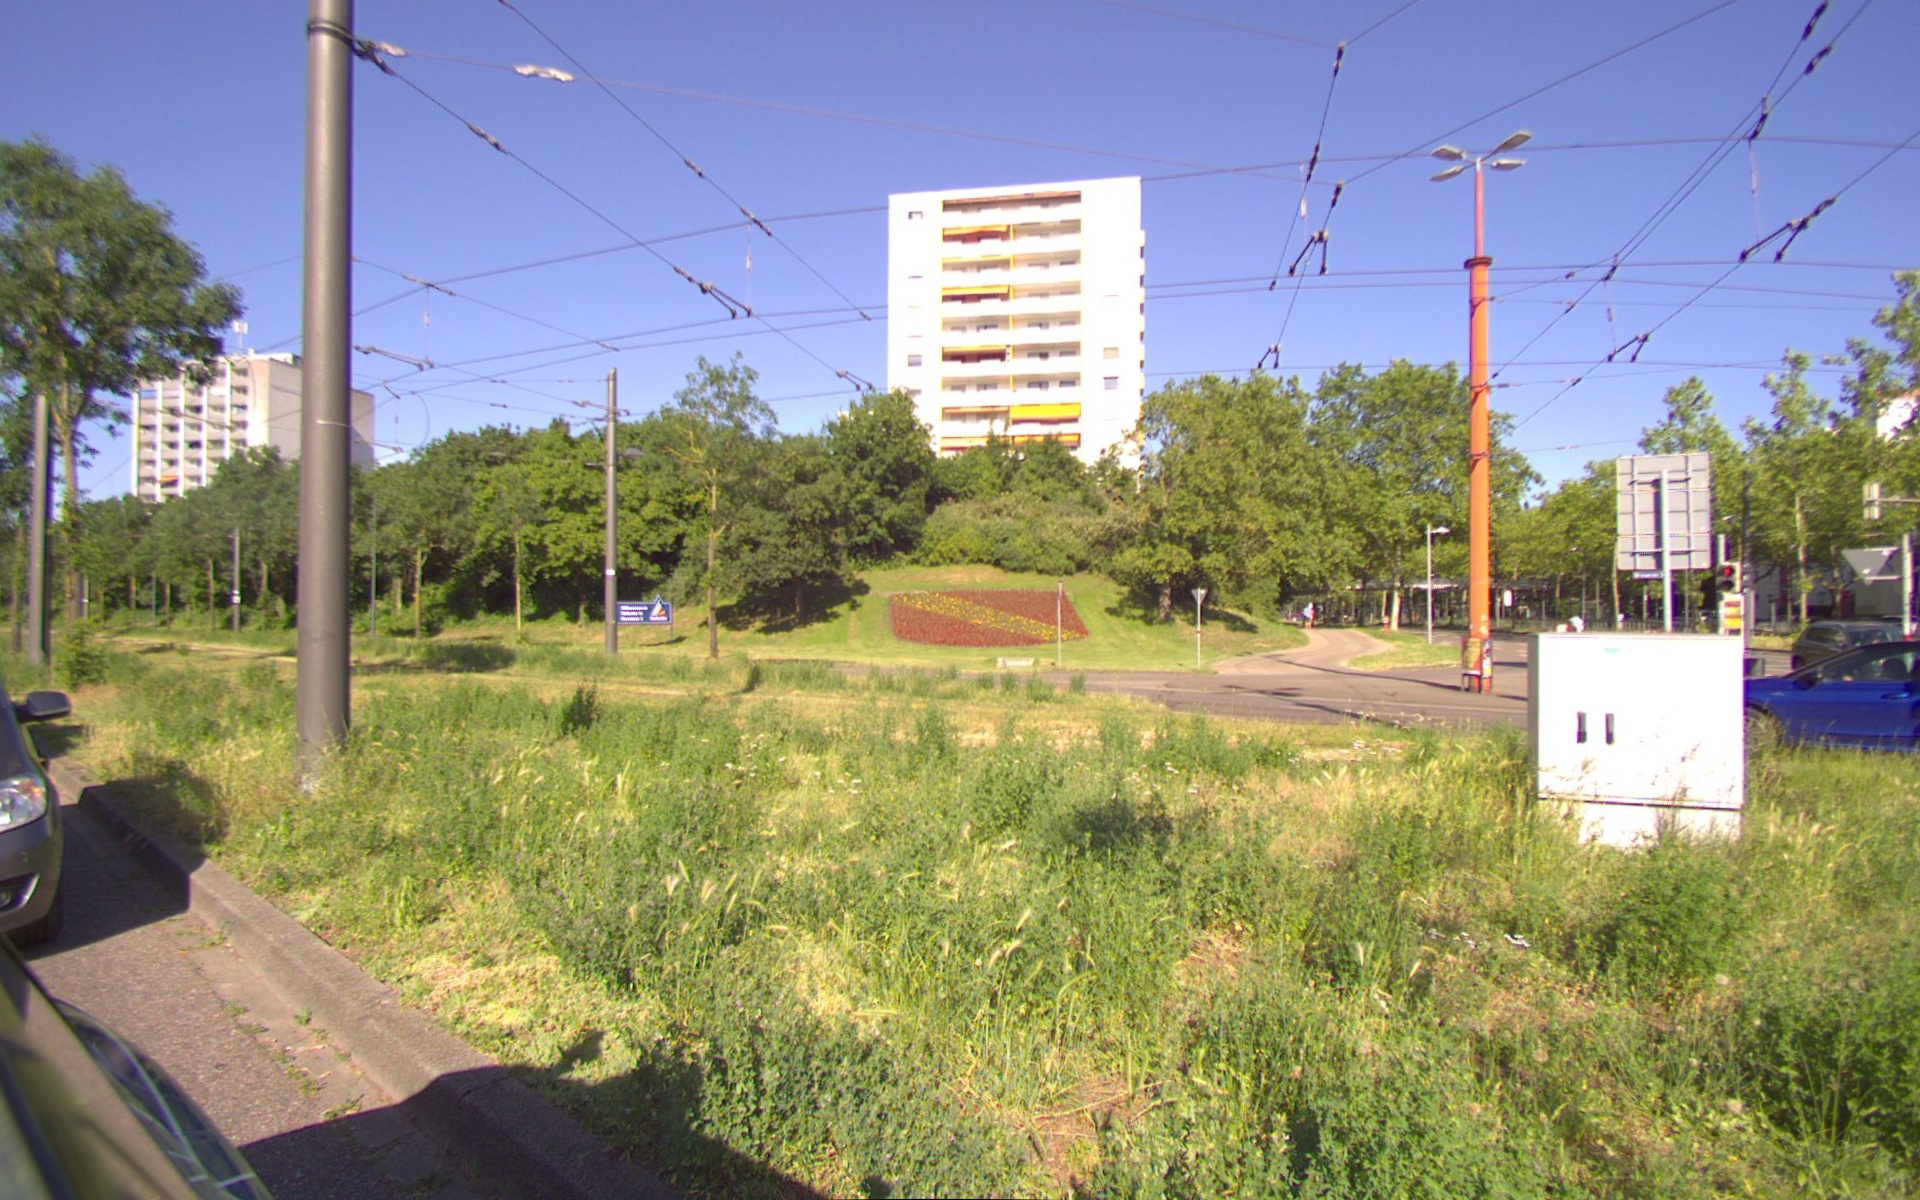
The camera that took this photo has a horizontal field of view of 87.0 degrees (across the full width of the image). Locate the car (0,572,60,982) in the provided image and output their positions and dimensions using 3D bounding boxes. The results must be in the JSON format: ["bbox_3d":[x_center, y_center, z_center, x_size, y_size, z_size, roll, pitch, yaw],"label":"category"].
[{"bbox_3d":[-5.820,0.754,4.881,3.998,1.652,1.726,-1,0,41],"label":"car"}]

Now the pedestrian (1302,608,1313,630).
[{"bbox_3d":[24.674,1.359,71.851,0.681,1.568,0.985,-1,0,20],"label":"pedestrian"}]

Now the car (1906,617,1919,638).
[{"bbox_3d":[63.693,1.782,65.151,1.472,1.341,3.746,-1,0,-27],"label":"car"}]

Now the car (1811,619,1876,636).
[{"bbox_3d":[64.413,1.994,73.834,1.425,1.197,3.423,-1,0,-41],"label":"car"}]

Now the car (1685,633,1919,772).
[{"bbox_3d":[10.616,1.101,11.191,1.553,1.431,3.918,1,-2,-36],"label":"car"}]

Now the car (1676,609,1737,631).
[{"bbox_3d":[72.151,1.946,97.860,1.909,1.999,4.350,1,-2,-38],"label":"car"}]

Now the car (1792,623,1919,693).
[{"bbox_3d":[23.013,1.378,25.270,1.900,1.507,4.026,-1,0,15],"label":"car"}]

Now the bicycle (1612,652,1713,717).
[{"bbox_3d":[13.509,1.598,19.527,0.571,1.079,1.916,-1,0,0],"label":"bicycle"}]

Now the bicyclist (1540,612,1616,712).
[{"bbox_3d":[12.120,1.195,19.863,0.880,1.881,0.924,-1,0,-2],"label":"bicyclist"}]

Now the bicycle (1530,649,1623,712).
[{"bbox_3d":[12.074,1.551,19.880,0.571,1.079,1.917,-1,0,-2],"label":"bicycle"}]

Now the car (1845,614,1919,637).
[{"bbox_3d":[63.809,1.749,69.983,1.589,1.471,3.656,-1,0,-38],"label":"car"}]

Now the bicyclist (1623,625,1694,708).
[{"bbox_3d":[13.496,1.268,19.577,0.710,1.536,0.924,-1,0,0],"label":"bicyclist"}]
